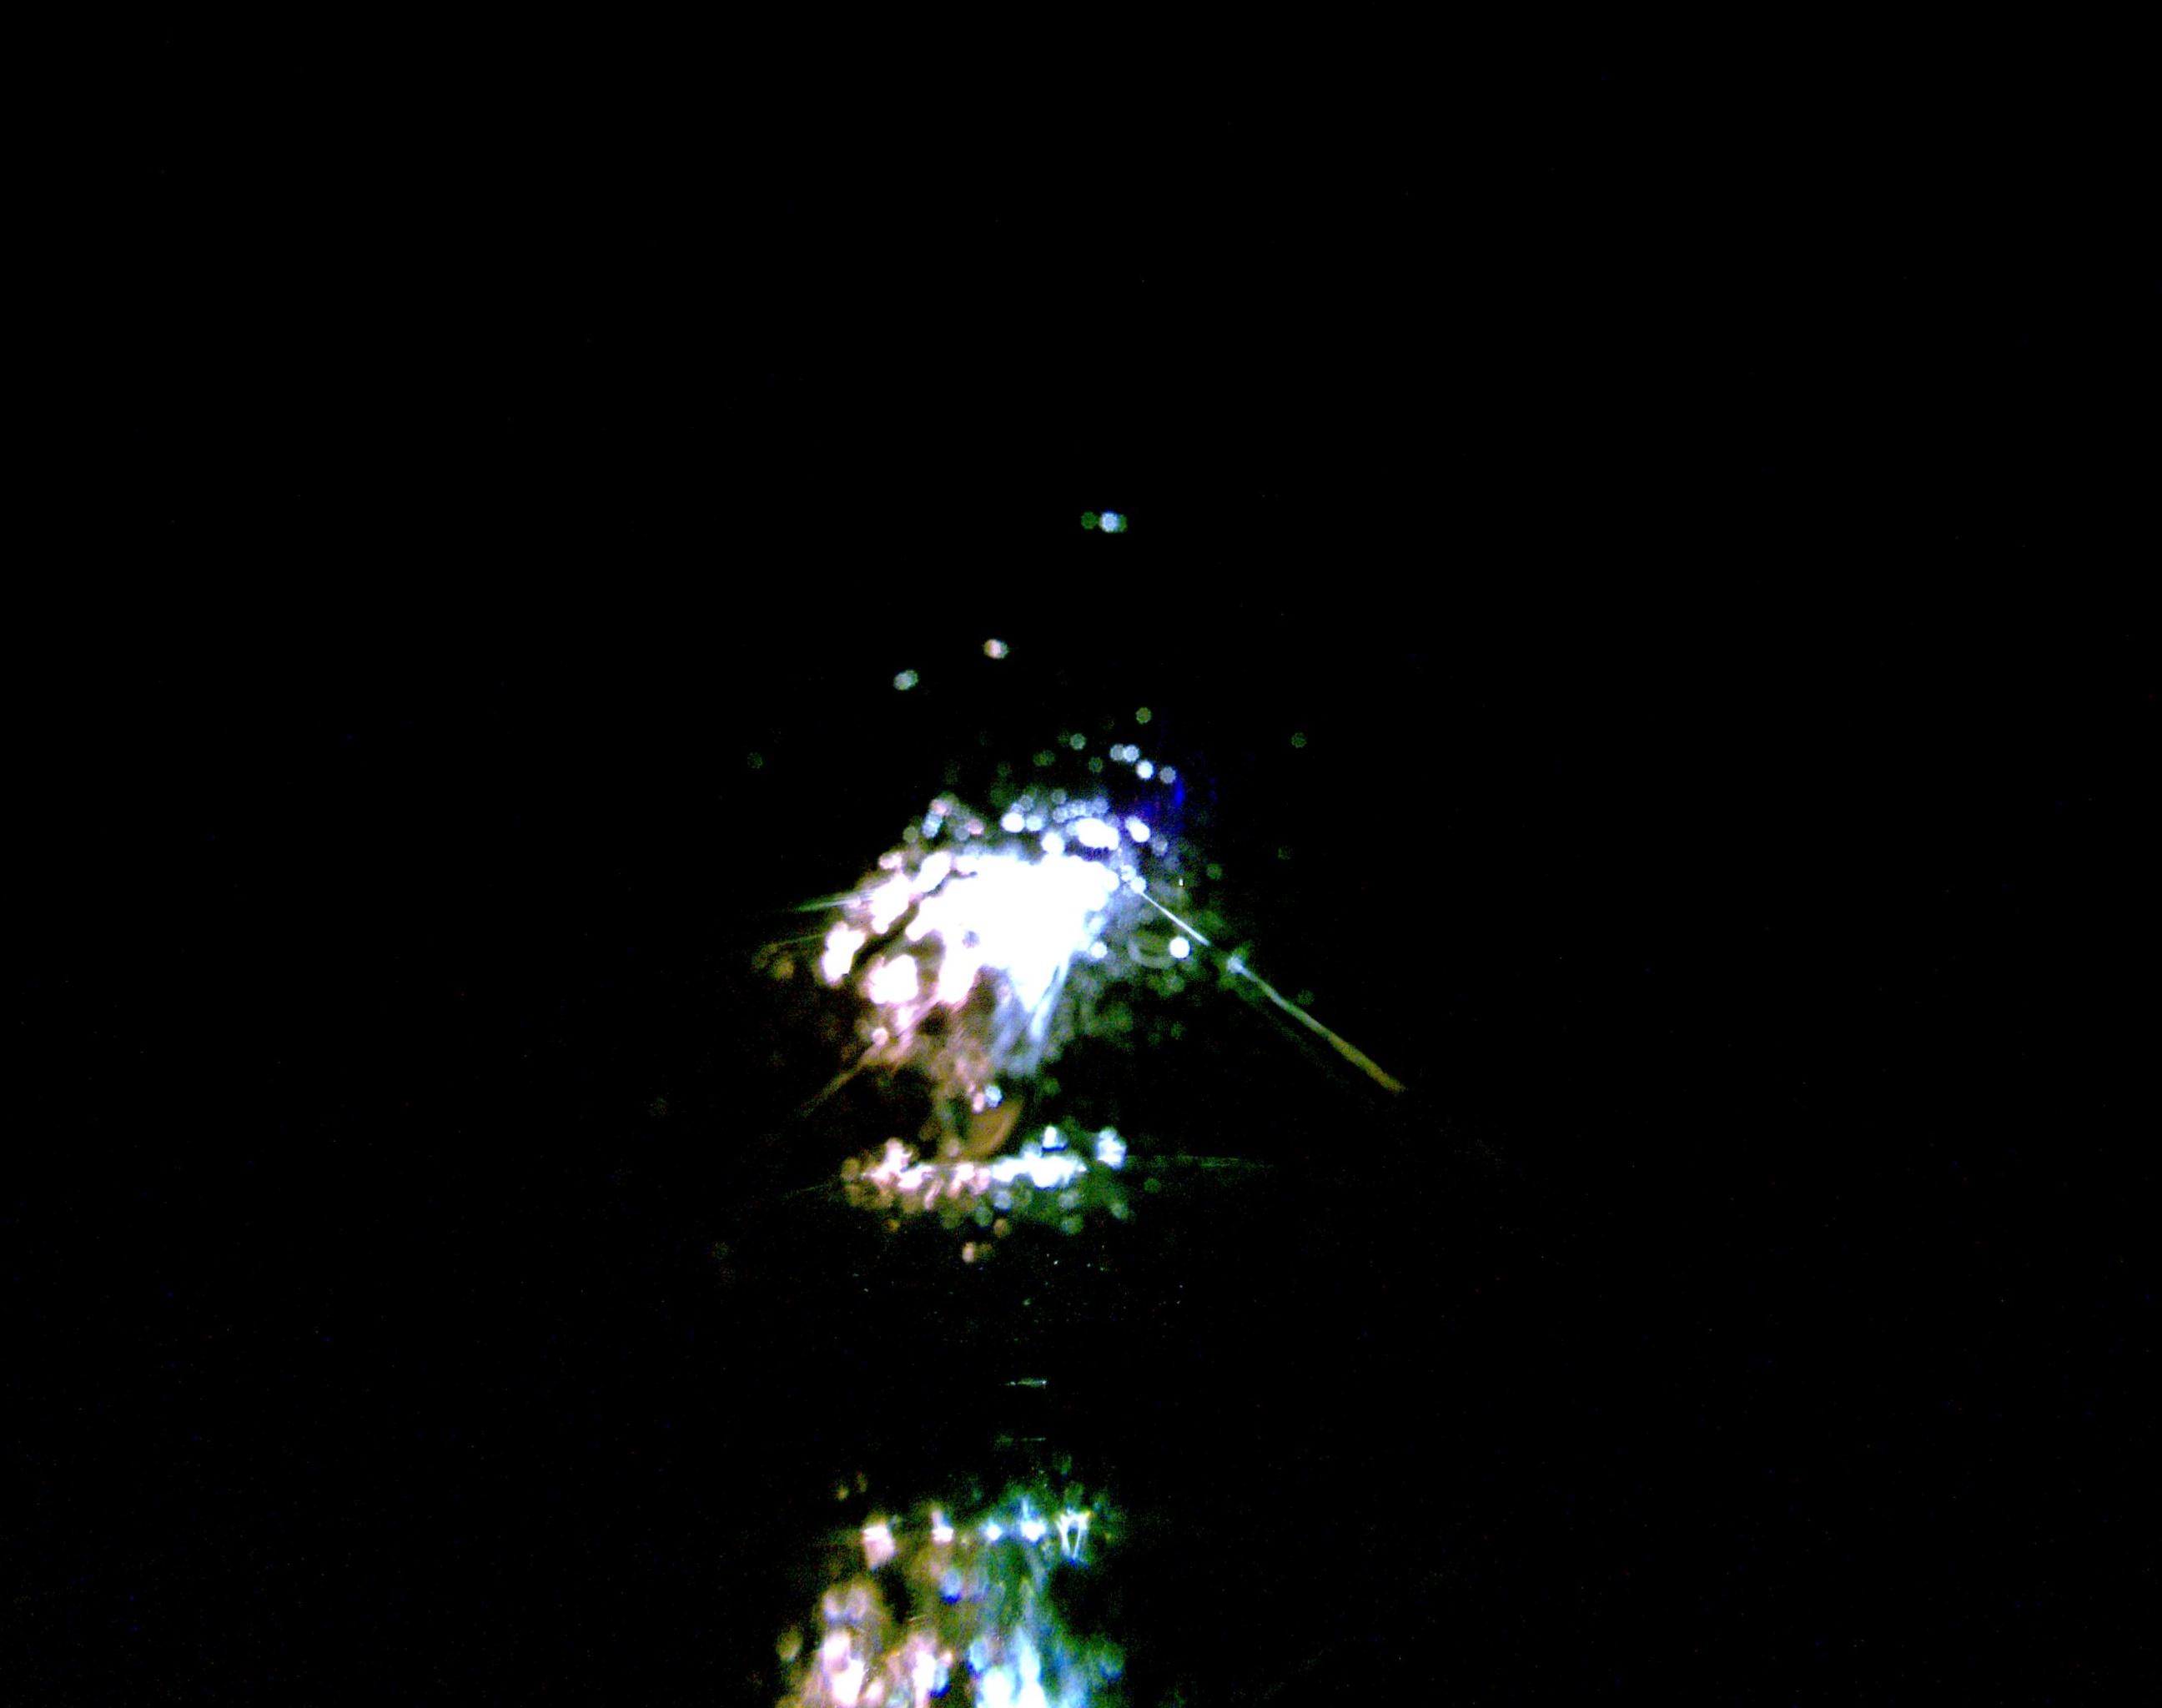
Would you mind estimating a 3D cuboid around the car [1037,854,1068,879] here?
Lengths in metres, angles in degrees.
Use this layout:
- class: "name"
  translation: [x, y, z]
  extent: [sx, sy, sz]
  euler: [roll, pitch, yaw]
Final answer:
- class: "car"
  translation: [-2.075, 0.939, 60.333]
  extent: [2.033, 1.607, 3.997]
  euler: [-5, -2, 0]

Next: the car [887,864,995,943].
- class: "car"
  translation: [-3.028, 1.012, 18.383]
  extent: [1.695, 1.467, 4.040]
  euler: [-2, 0, 0]

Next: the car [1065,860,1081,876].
- class: "car"
  translation: [-0.998, 1.877, 106.531]
  extent: [1.772, 1.880, 4.001]
  euler: [-5, -2, 2]

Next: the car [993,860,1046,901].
- class: "car"
  translation: [-2.762, 1.201, 37.653]
  extent: [1.882, 1.635, 4.391]
  euler: [-5, -2, 1]
